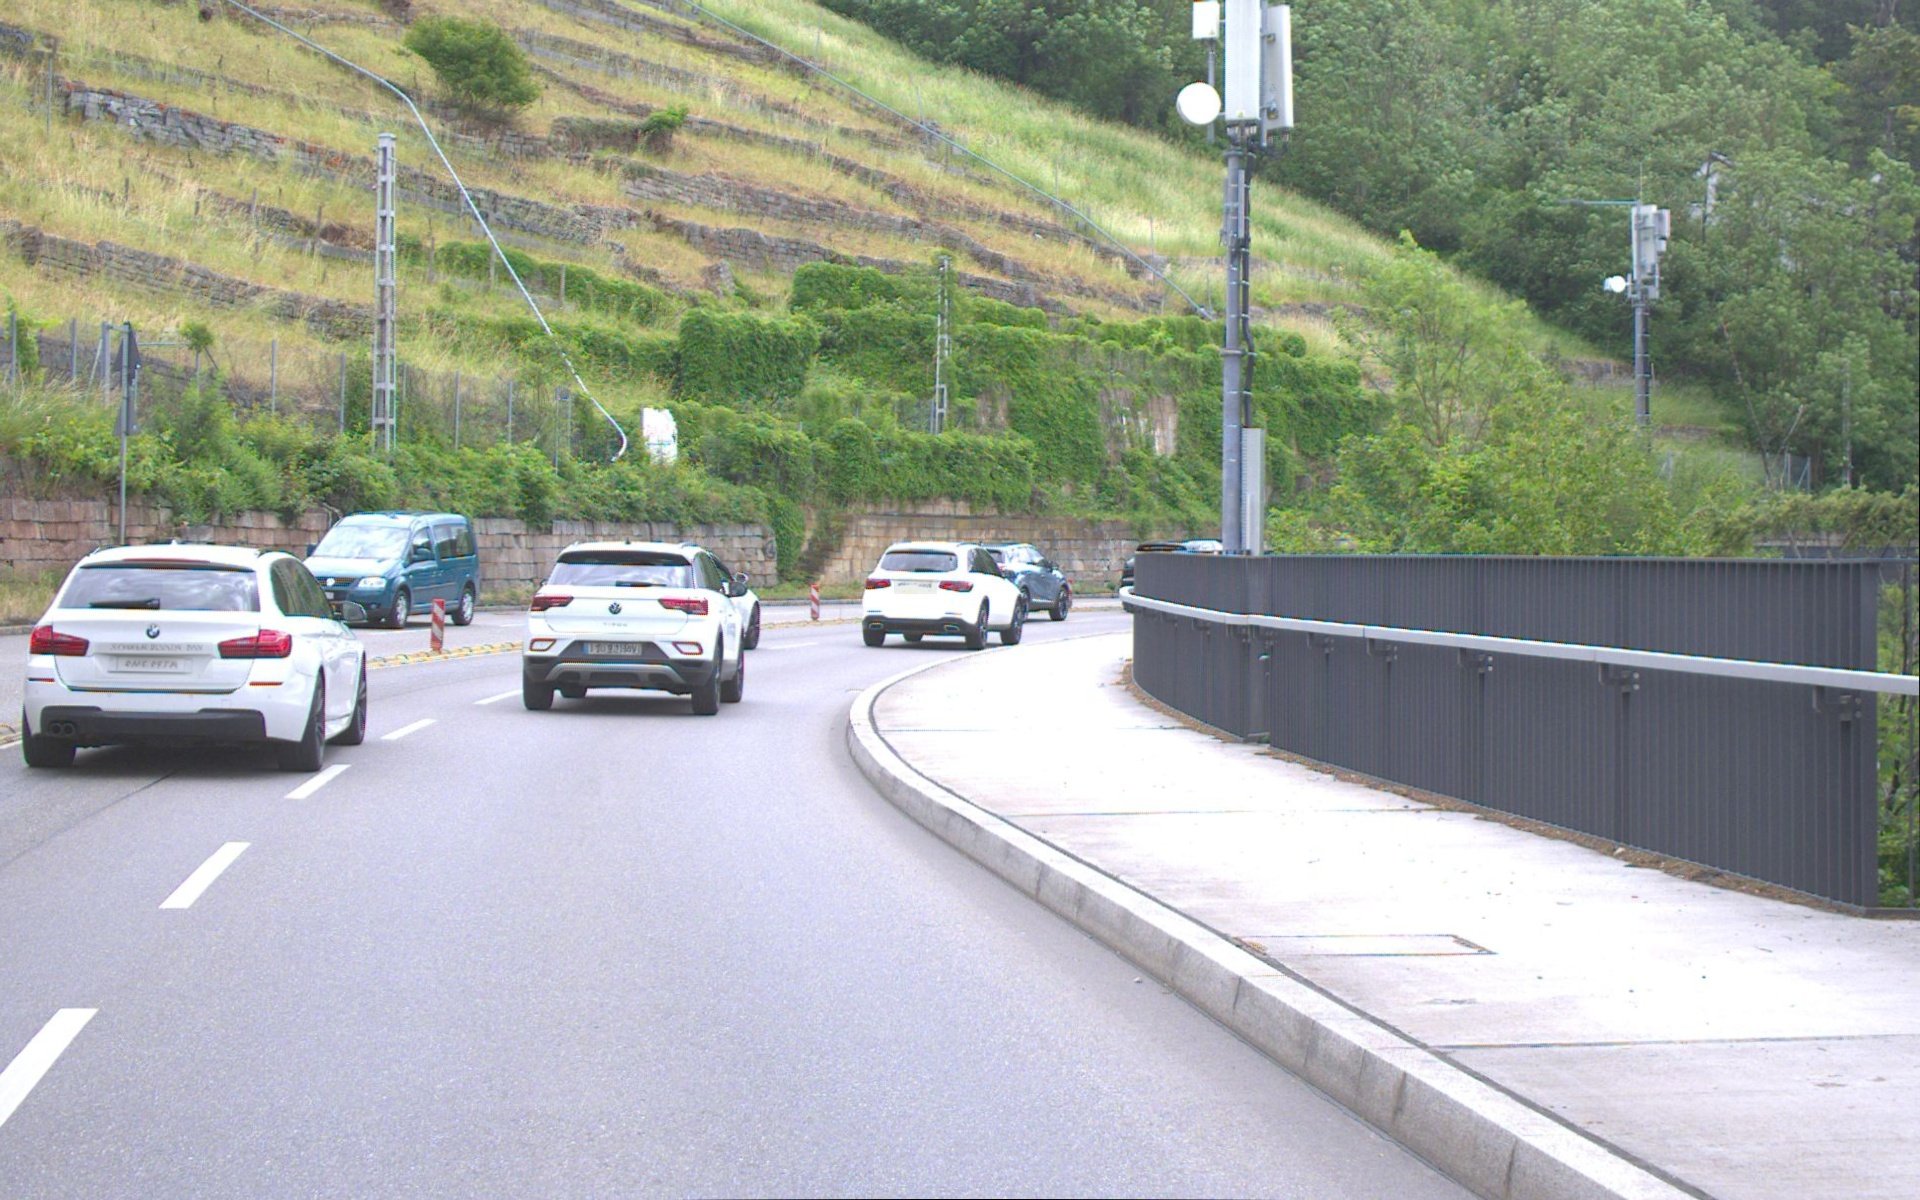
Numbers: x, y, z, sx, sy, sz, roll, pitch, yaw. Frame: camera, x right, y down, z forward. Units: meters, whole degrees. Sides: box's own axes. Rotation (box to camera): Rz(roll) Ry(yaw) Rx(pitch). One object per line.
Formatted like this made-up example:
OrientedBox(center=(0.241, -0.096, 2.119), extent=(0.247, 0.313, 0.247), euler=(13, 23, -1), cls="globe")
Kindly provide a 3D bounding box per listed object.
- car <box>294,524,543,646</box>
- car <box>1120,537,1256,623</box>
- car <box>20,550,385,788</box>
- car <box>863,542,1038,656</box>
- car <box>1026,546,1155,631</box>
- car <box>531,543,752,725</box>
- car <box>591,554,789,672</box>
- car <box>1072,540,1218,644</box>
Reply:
OrientedBox(center=(-8.583, -0.250, 54.921), extent=(1.853, 1.776, 4.729), euler=(3, 1, 19), cls="car")
OrientedBox(center=(5.257, -0.433, 78.797), extent=(1.872, 1.756, 3.994), euler=(-1, -3, 24), cls="car")
OrientedBox(center=(-5.062, 0.396, 23.530), extent=(1.827, 1.454, 4.487), euler=(1, 1, -4), cls="car")
OrientedBox(center=(-0.102, -0.019, 53.862), extent=(1.994, 1.712, 4.112), euler=(0, 0, 11), cls="car")
OrientedBox(center=(3.047, -0.244, 79.490), extent=(1.871, 1.756, 3.995), euler=(-1, -3, 20), cls="car")
OrientedBox(center=(-2.960, 0.298, 32.632), extent=(1.828, 1.600, 4.000), euler=(1, 0, -2), cls="car")
OrientedBox(center=(-3.745, 0.168, 48.570), extent=(1.994, 1.498, 4.666), euler=(-3, 0, 5), cls="car")
OrientedBox(center=(3.854, -0.147, 70.966), extent=(1.995, 2.007, 3.996), euler=(-2, -1, 18), cls="car")
